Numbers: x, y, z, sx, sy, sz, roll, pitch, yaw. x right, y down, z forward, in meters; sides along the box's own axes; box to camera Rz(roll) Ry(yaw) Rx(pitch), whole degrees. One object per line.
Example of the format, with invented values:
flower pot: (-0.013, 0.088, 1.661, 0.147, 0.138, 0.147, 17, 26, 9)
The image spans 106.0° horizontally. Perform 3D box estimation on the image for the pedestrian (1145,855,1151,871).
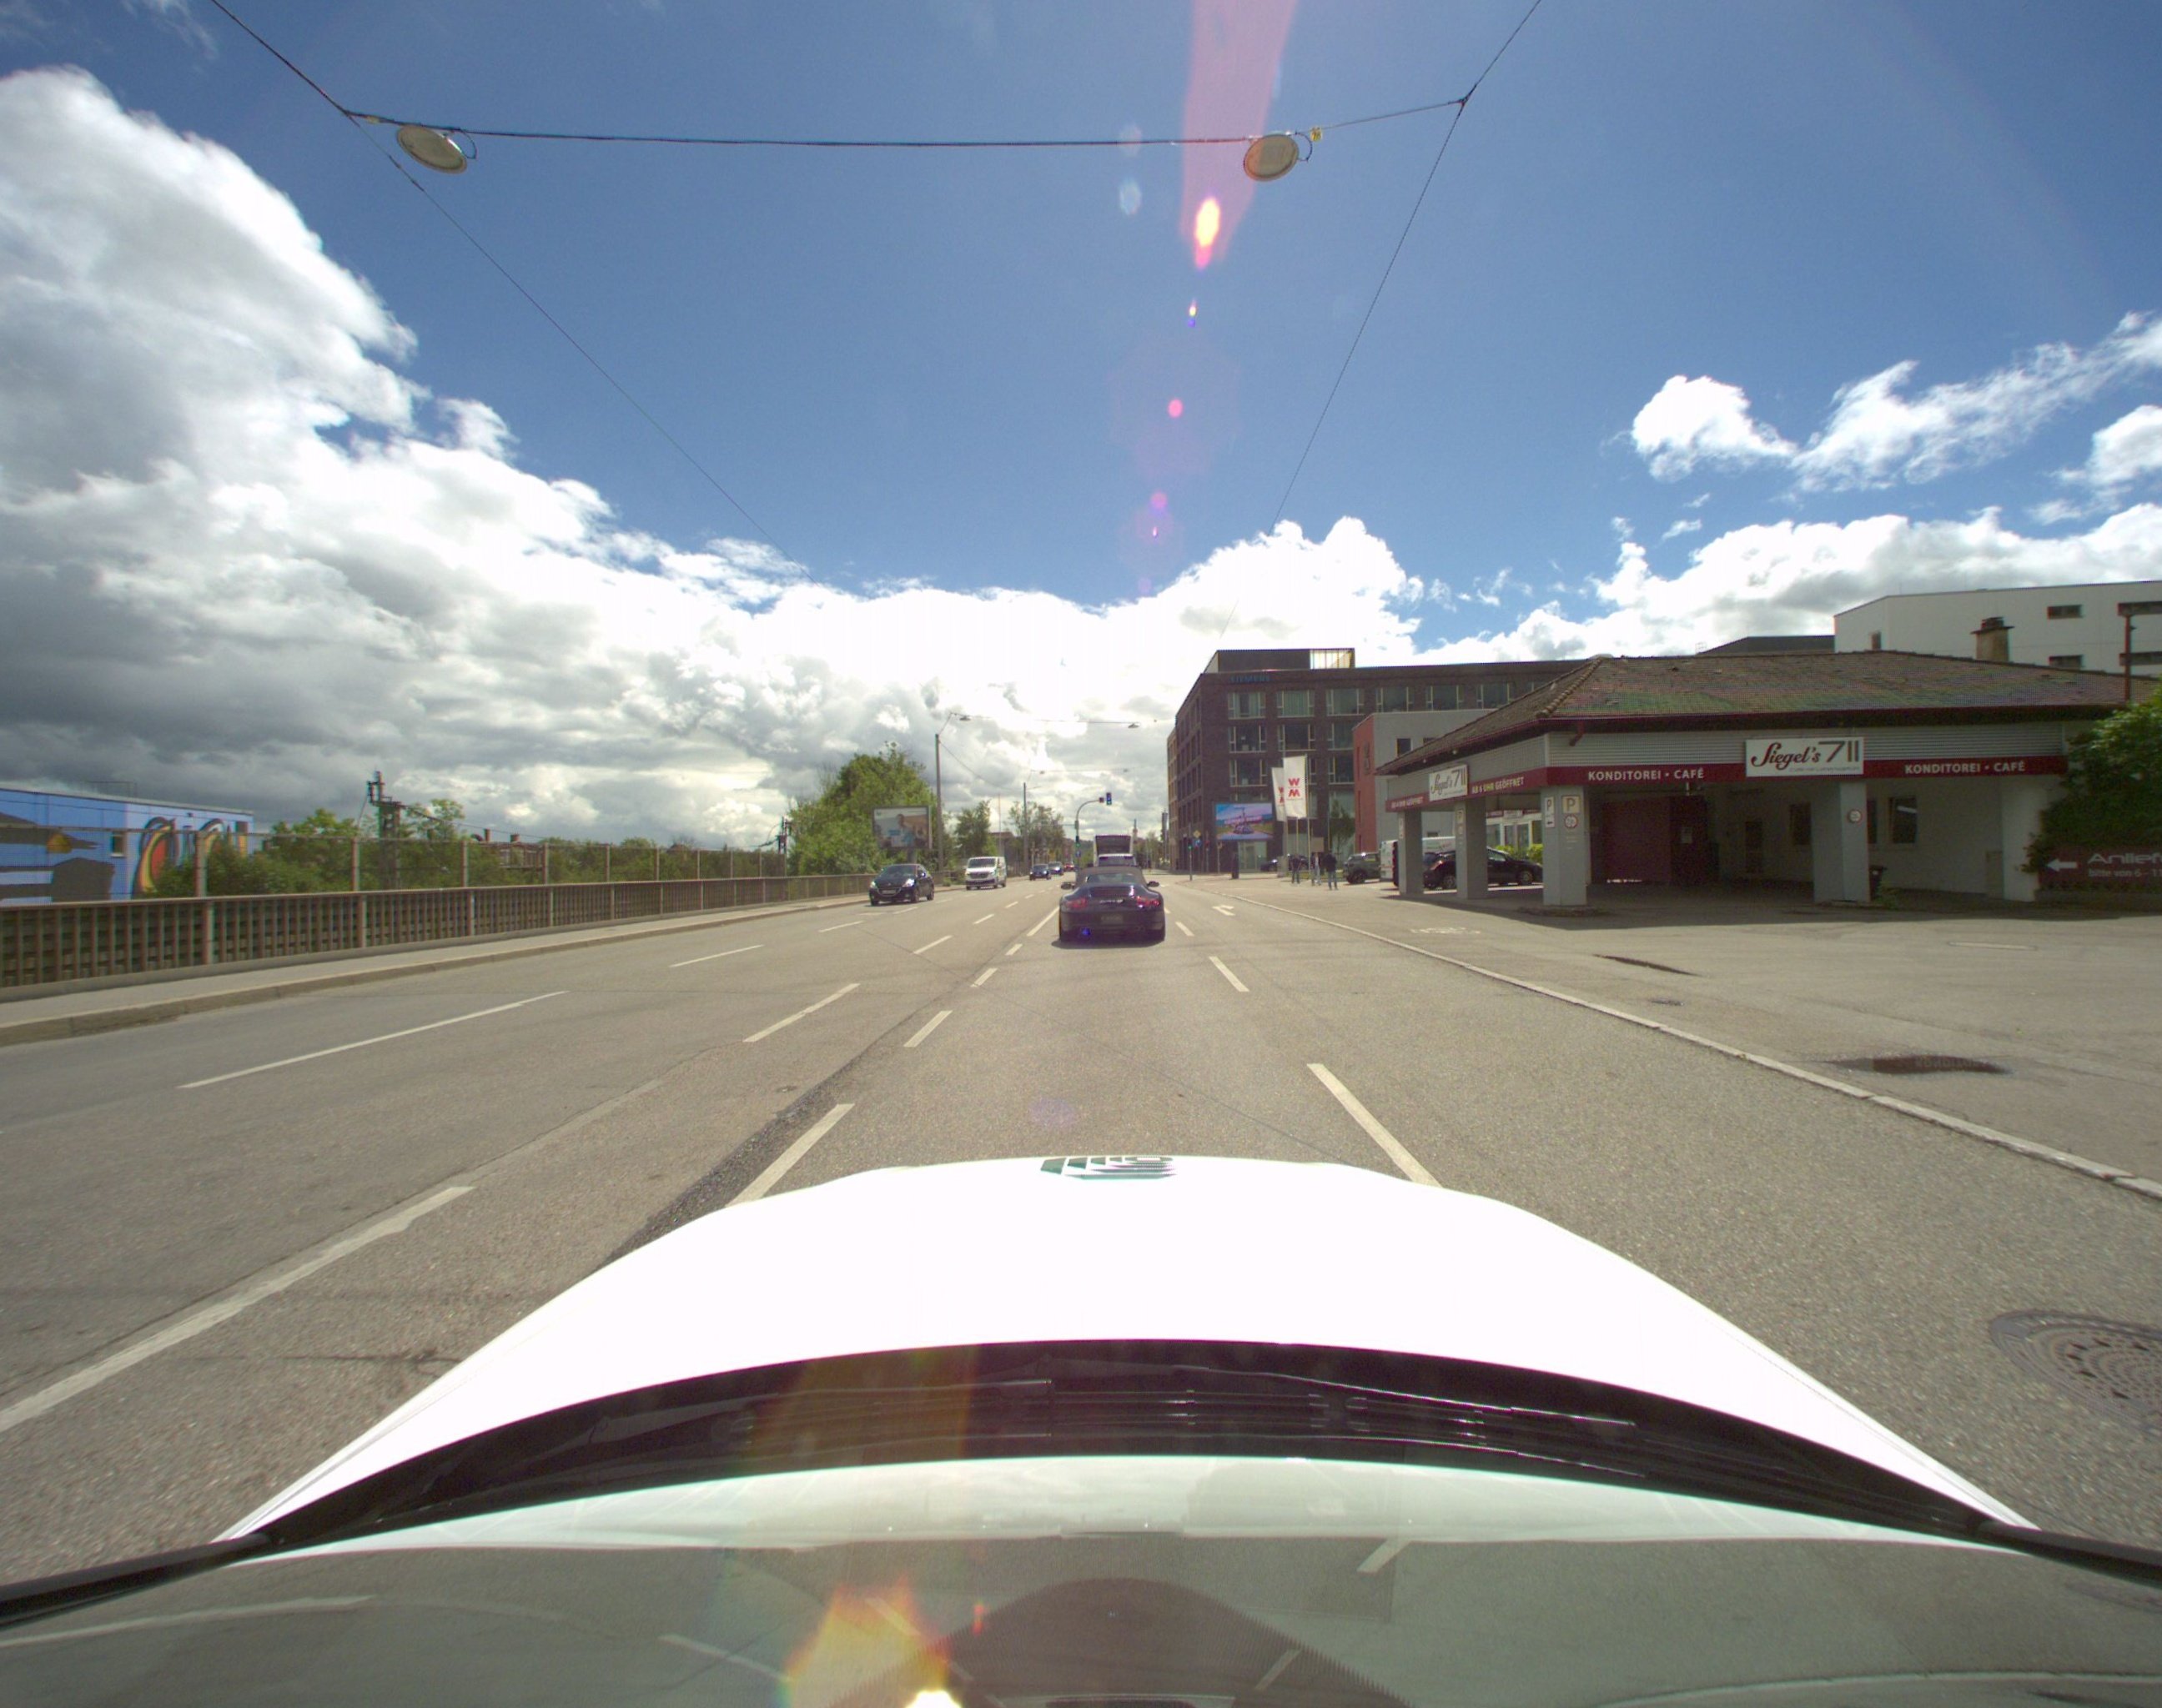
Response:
pedestrian: (8.340, 1.098, 101.126, 0.664, 2.014, 0.769, -1, -1, 0)

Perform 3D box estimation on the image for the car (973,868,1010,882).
car: (-8.869, 2.046, 80.711, 3.509, 1.264, 1.386, -1, -1, -8)

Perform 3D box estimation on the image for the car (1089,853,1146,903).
car: (1.265, 0.808, 29.695, 1.874, 1.594, 4.229, 0, 1, 0)

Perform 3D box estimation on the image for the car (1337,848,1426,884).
car: (14.914, 0.597, 40.530, 3.744, 1.440, 1.720, -5, -1, 2)

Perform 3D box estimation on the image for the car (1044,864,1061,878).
car: (-3.260, 1.960, 93.670, 1.656, 1.547, 3.804, -1, -1, 2)

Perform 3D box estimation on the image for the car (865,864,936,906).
car: (-6.687, 1.123, 30.544, 1.622, 1.430, 4.001, -1, -1, 2)

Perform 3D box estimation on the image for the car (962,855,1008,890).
car: (-5.797, 1.105, 49.828, 1.894, 1.887, 5.315, -3, -1, 2)

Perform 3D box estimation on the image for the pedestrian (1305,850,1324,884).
pedestrian: (12.169, 0.674, 42.427, 0.705, 1.696, 0.924, -1, -1, -1)

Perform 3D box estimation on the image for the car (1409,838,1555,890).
car: (14.381, 0.373, 29.413, 4.284, 1.513, 1.847, -4, -2, 2)

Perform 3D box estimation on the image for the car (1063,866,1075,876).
car: (-1.841, 2.694, 130.341, 1.656, 1.416, 3.804, -1, -1, 2)

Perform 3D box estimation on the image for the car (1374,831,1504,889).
car: (14.224, 0.247, 32.550, 4.214, 1.936, 2.031, -4, -1, 2)

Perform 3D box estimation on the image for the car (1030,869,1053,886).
car: (-3.585, 2.123, 74.355, 1.656, 1.416, 3.804, -1, -1, 2)

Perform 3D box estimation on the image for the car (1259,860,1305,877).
car: (18.575, 1.357, 75.492, 3.915, 1.431, 1.474, -1, -1, 1)

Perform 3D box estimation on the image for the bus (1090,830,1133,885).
bus: (2.192, 0.048, 56.984, 2.678, 3.254, 12.069, 0, 2, 3)

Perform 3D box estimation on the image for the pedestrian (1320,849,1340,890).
pedestrian: (10.525, 0.660, 34.445, 0.673, 1.696, 0.602, -2, -1, 27)

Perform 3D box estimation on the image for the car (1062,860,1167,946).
car: (0.612, 0.827, 15.452, 1.713, 1.275, 4.090, 0, 1, 2)

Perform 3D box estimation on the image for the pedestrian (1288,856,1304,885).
pedestrian: (12.365, 0.933, 46.835, 0.668, 1.661, 0.742, -1, -1, 0)
